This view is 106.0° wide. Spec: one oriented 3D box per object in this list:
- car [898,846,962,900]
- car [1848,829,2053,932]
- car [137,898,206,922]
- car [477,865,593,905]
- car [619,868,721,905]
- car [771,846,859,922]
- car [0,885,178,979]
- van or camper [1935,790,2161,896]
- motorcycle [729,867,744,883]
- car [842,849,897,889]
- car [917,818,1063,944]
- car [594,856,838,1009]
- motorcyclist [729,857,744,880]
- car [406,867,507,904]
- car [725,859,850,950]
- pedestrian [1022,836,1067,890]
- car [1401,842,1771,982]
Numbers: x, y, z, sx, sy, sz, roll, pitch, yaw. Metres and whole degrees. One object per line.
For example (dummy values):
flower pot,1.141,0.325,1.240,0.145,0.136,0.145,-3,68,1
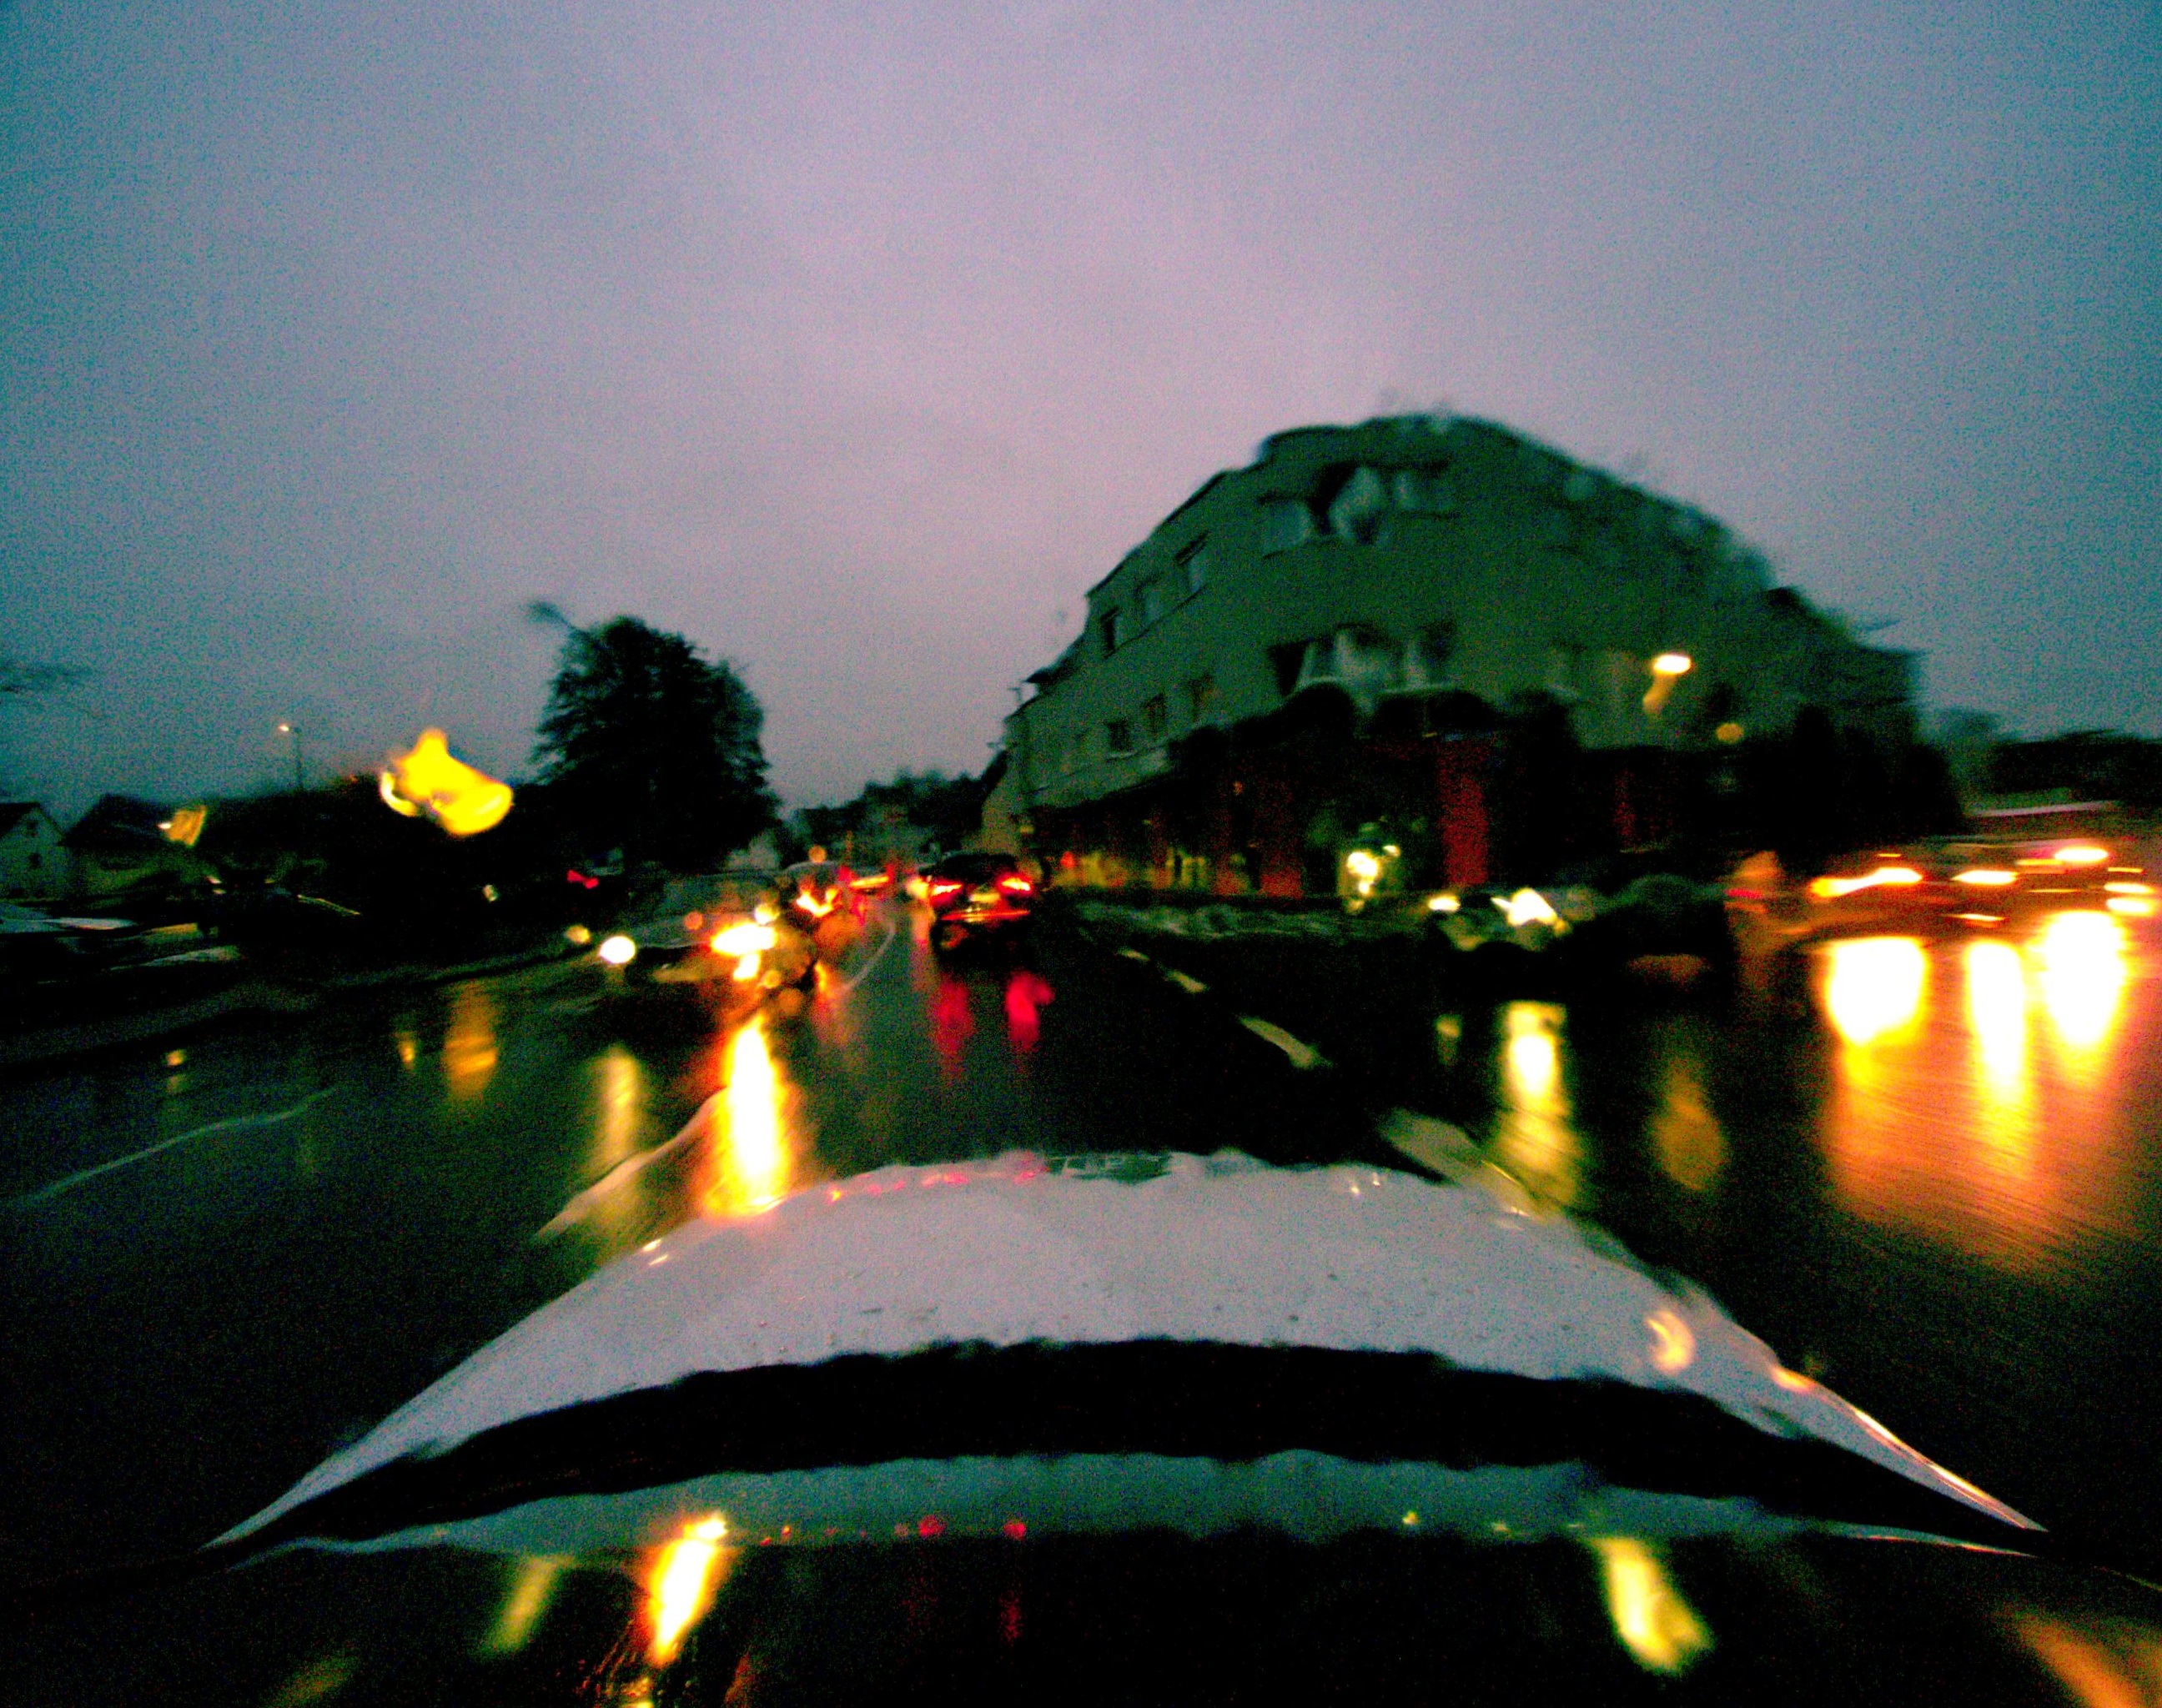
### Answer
car,-5.190,0.596,27.677,1.860,1.647,3.981,-2,0,-14
car,17.267,0.468,16.147,4.145,1.788,2.026,0,-1,-32
car,-55.355,3.385,49.634,1.568,1.131,3.365,0,0,-25
car,-27.075,1.494,40.580,4.426,1.671,1.954,-3,1,-23
car,-19.662,1.512,39.151,4.245,1.699,1.885,0,-1,-24
car,-6.936,0.715,21.650,1.773,1.723,4.401,-3,0,-13
car,-22.564,1.665,16.789,4.798,1.711,2.015,-3,0,-28
van or camper,25.653,-0.342,21.381,9.217,2.332,2.431,-1,2,-31
motorcycle,-22.995,1.419,54.444,0.869,1.024,2.094,-2,-1,-22
car,-11.764,0.817,45.035,2.318,1.938,4.983,-3,0,-20
car,-1.901,0.451,15.988,2.309,1.938,5.001,-3,0,-10
car,-4.329,0.811,10.356,1.661,1.486,3.990,-2,0,-7
motorcyclist,-23.004,0.954,54.441,0.869,1.485,0.902,-2,-1,-23
car,-37.739,1.852,49.392,4.678,1.977,2.106,-1,1,-33
car,-5.775,0.904,16.484,1.773,1.495,4.025,-3,0,-12
pedestrian,-1.377,0.330,30.595,1.258,1.865,1.295,-5,1,-18
car,6.249,0.583,10.098,4.187,1.441,1.785,-1,1,-22
